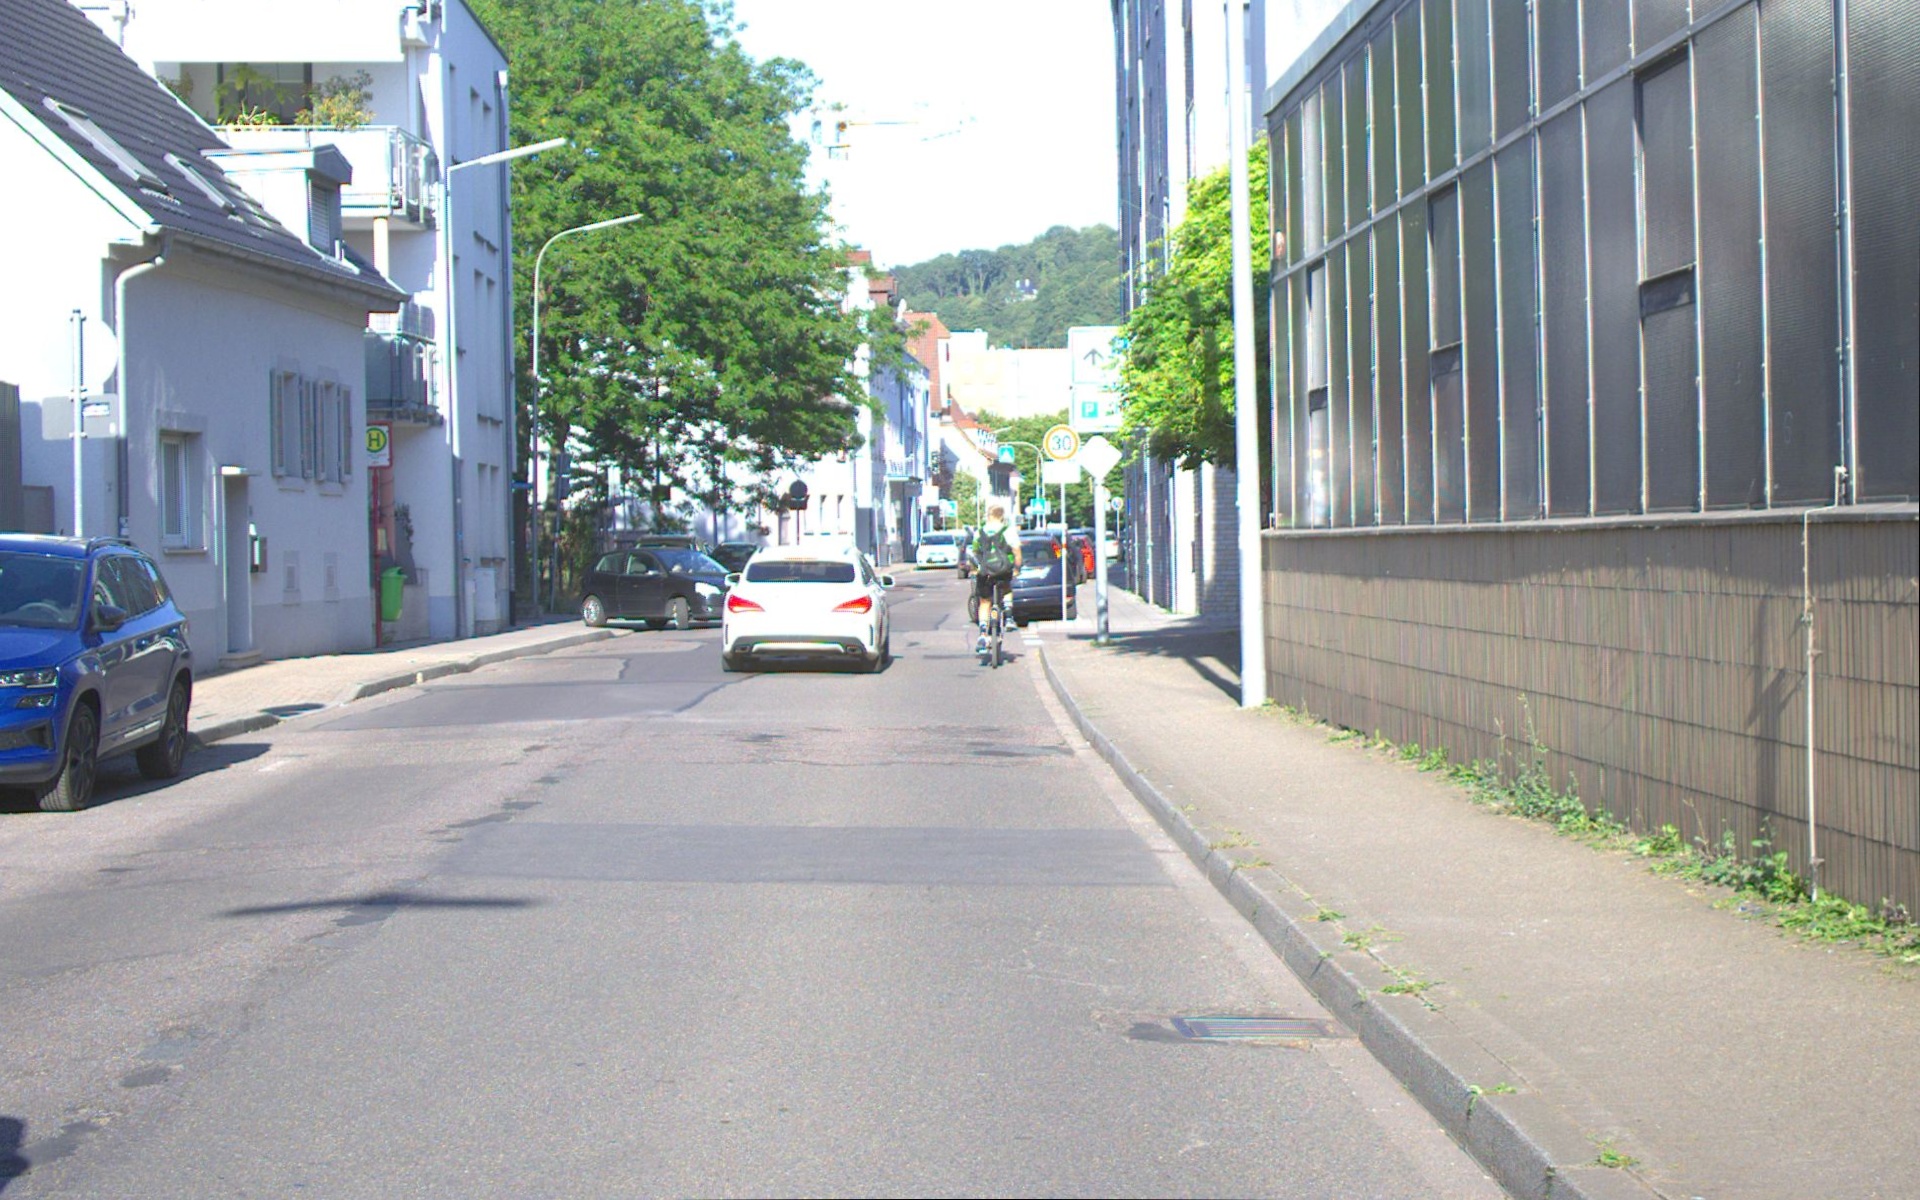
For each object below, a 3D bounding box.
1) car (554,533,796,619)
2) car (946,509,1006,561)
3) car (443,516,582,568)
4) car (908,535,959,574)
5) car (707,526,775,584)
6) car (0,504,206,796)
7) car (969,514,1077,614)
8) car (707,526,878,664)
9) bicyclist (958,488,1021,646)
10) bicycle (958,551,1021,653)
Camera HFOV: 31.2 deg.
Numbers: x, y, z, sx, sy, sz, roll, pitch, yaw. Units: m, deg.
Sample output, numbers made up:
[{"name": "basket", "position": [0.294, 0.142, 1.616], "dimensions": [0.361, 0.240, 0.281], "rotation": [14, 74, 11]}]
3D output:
[{"name": "car", "position": [-5.114, -0.431, 61.501], "dimensions": [4.139, 1.486, 1.844], "rotation": [1, 1, 37]}, {"name": "car", "position": [0.542, -2.293, 120.680], "dimensions": [1.853, 1.785, 4.608], "rotation": [0, 1, -3]}, {"name": "car", "position": [-13.544, -1.757, 104.102], "dimensions": [3.901, 1.570, 1.709], "rotation": [0, 1, 5]}, {"name": "car", "position": [-1.156, -2.002, 151.151], "dimensions": [1.945, 1.581, 4.621], "rotation": [-3, 1, 3]}, {"name": "car", "position": [-6.061, -1.275, 95.406], "dimensions": [1.704, 1.570, 3.914], "rotation": [0, 1, -1]}, {"name": "car", "position": [-6.089, 0.223, 21.659], "dimensions": [1.808, 1.581, 4.193], "rotation": [1, 2, -1]}, {"name": "car", "position": [1.054, -0.629, 59.545], "dimensions": [1.629, 1.581, 4.069], "rotation": [-3, 1, -1]}, {"name": "car", "position": [-1.877, -0.072, 39.351], "dimensions": [1.842, 1.486, 4.144], "rotation": [0, 0, -2]}, {"name": "bicyclist", "position": [0.337, -0.377, 39.552], "dimensions": [0.698, 1.784, 1.041], "rotation": [0, 0, 0]}, {"name": "bicycle", "position": [0.339, 0.011, 39.520], "dimensions": [0.698, 1.126, 2.403], "rotation": [0, 0, 0]}]
